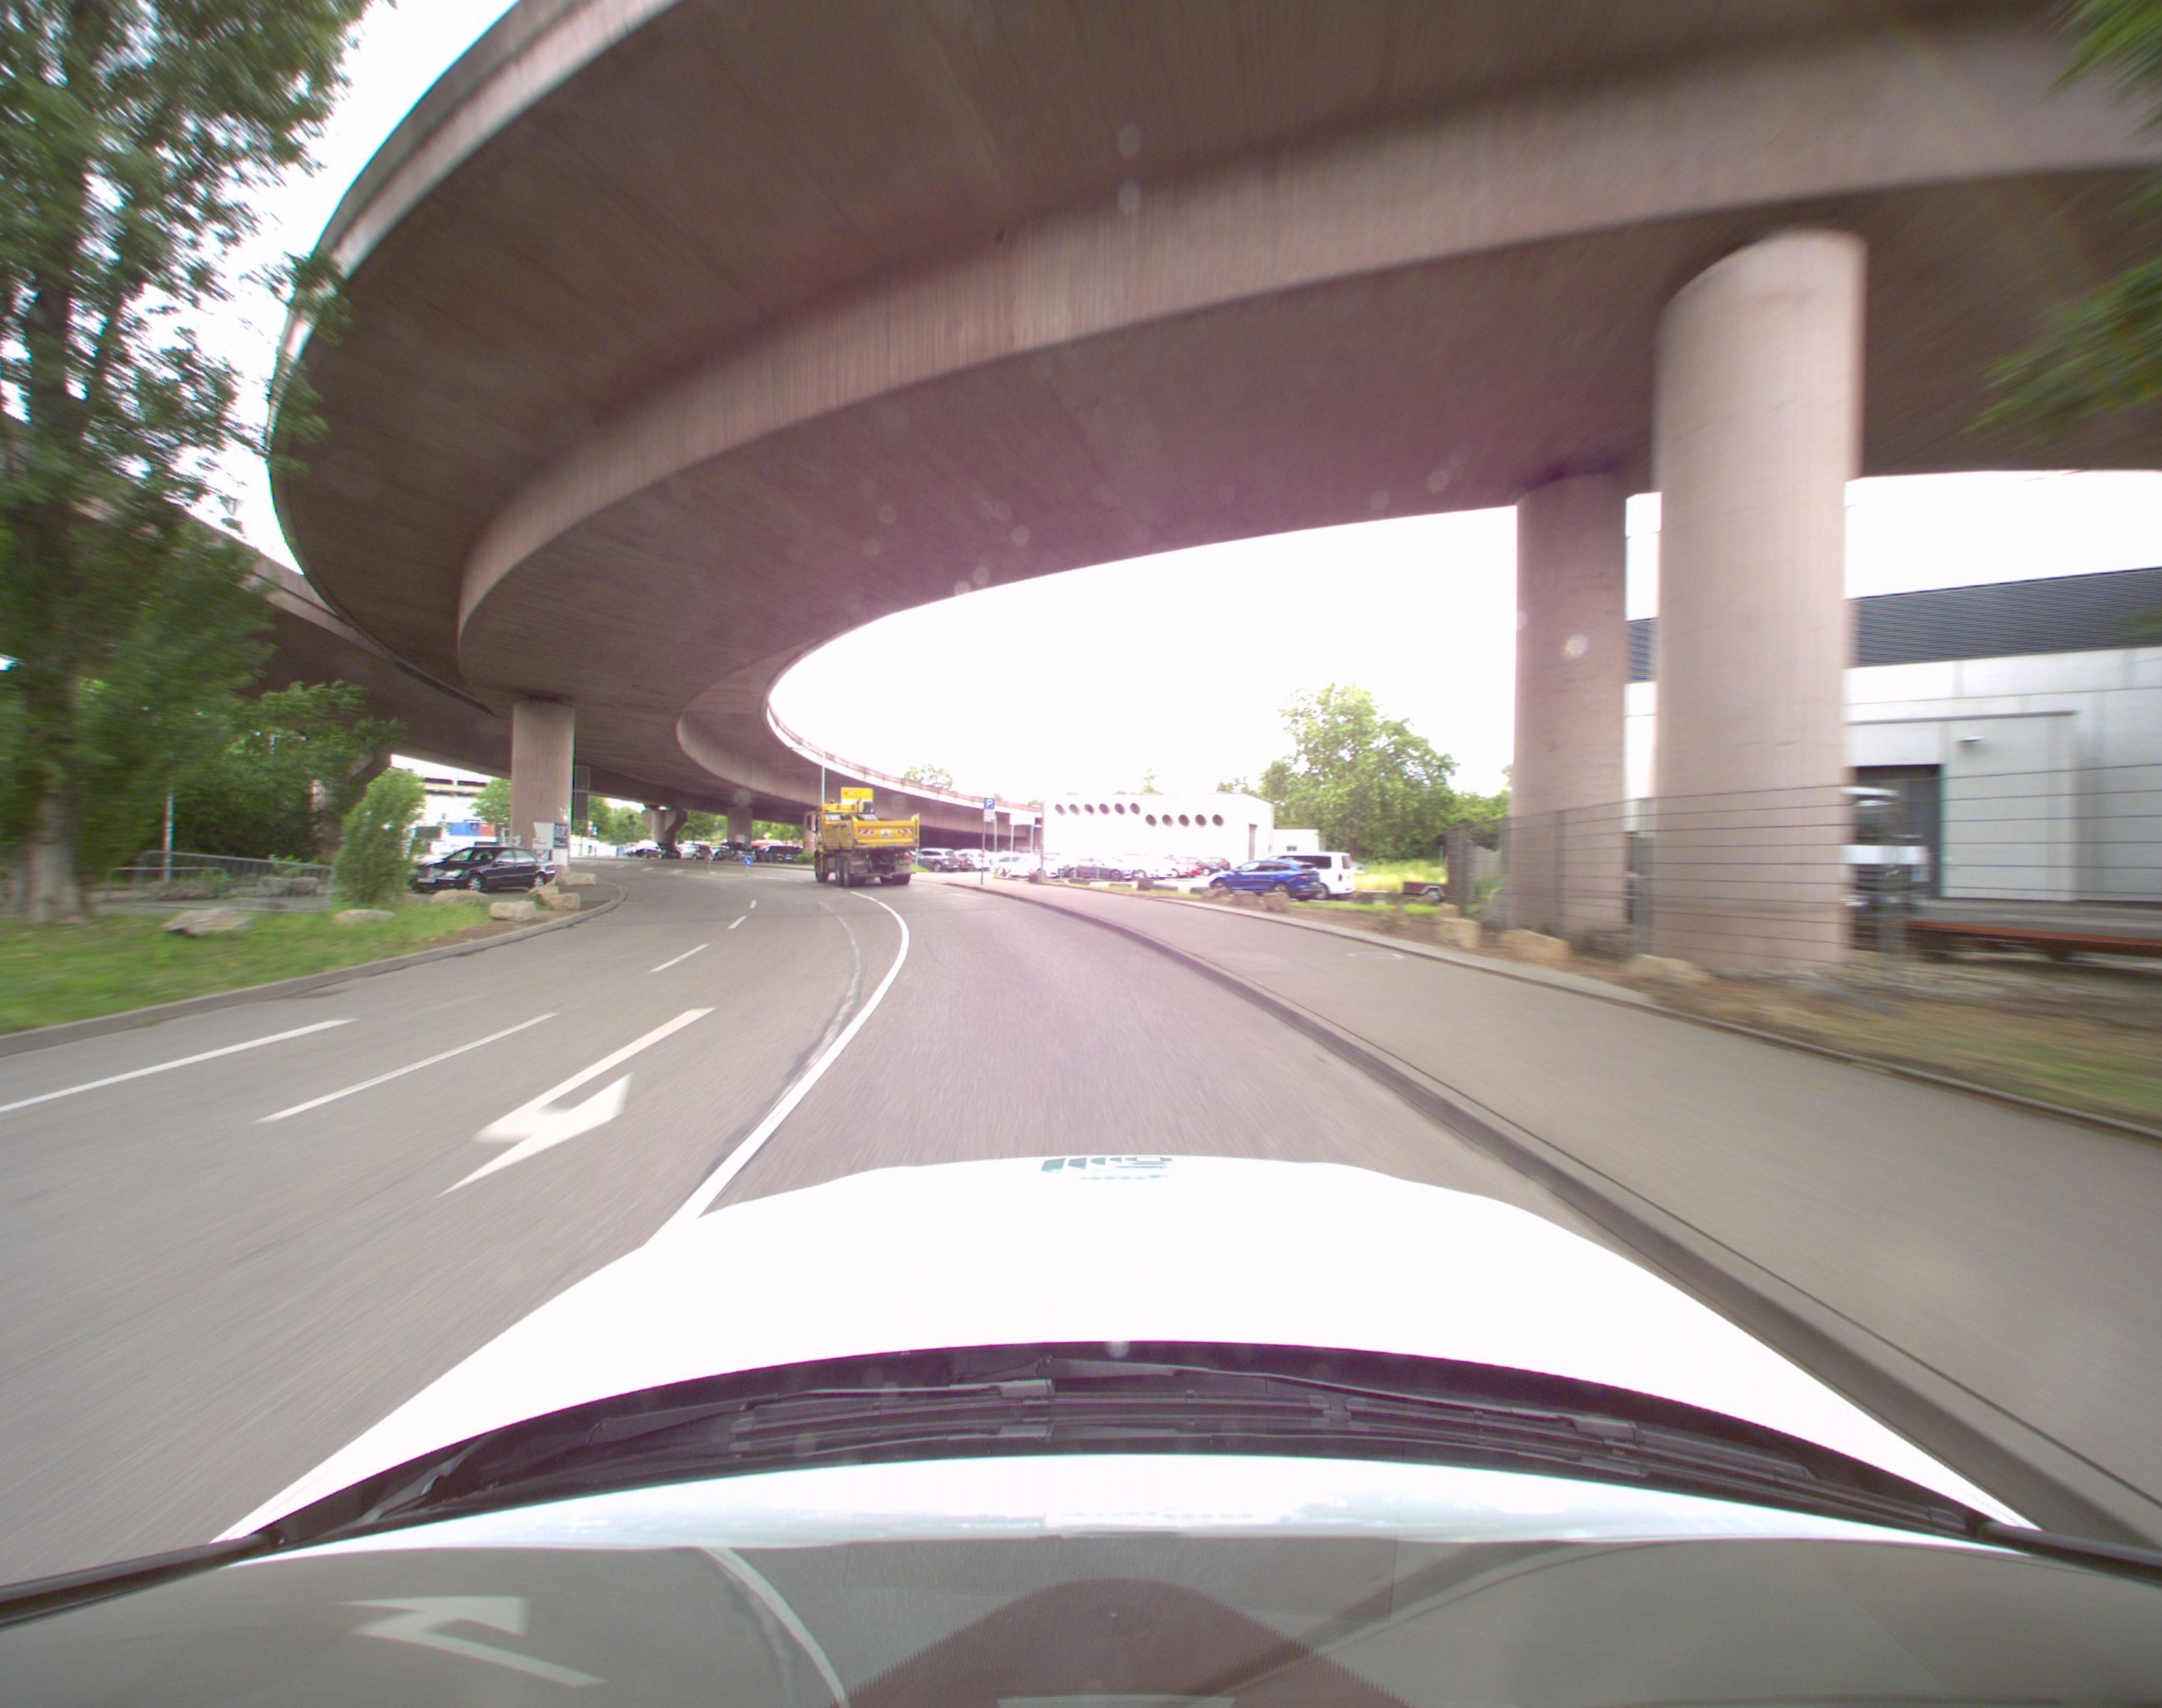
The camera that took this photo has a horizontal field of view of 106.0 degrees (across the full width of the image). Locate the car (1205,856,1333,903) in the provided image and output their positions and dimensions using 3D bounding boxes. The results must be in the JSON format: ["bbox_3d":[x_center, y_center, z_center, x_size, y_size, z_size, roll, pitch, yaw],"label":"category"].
[{"bbox_3d":[7.296,0.928,31.879,4.627,1.634,1.786,1,0,44],"label":"car"}]

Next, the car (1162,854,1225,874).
[{"bbox_3d":[8.666,0.788,62.831,4.386,1.425,1.850,1,0,28],"label":"car"}]

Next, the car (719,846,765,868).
[{"bbox_3d":[-25.758,0.207,61.845,3.366,1.533,1.621,1,-2,36],"label":"car"}]

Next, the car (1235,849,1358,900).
[{"bbox_3d":[9.022,0.800,34.284,4.620,1.957,1.906,1,0,34],"label":"car"}]

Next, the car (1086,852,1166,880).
[{"bbox_3d":[2.701,0.708,49.506,4.444,1.513,1.850,1,0,28],"label":"car"}]

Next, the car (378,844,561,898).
[{"bbox_3d":[-18.563,0.477,25.061,1.815,1.430,4.776,3,0,2],"label":"car"}]

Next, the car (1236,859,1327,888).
[{"bbox_3d":[10.536,0.972,42.810,4.306,1.384,1.786,1,0,29],"label":"car"}]

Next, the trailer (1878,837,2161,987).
[{"bbox_3d":[10.445,0.515,7.732,1.594,1.331,4.385,0,-1,2],"label":"trailer"}]

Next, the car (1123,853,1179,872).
[{"bbox_3d":[5.974,0.706,69.463,4.433,1.533,1.779,1,0,26],"label":"car"}]

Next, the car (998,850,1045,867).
[{"bbox_3d":[-5.684,0.405,77.808,4.140,1.592,1.849,1,0,25],"label":"car"}]

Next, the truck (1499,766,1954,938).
[{"bbox_3d":[12.467,-0.036,16.773,2.424,2.744,7.190,1,0,-19],"label":"truck"}]

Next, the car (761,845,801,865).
[{"bbox_3d":[-25.095,0.107,68.013,1.800,1.507,3.812,3,-2,-42],"label":"car"}]

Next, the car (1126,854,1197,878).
[{"bbox_3d":[5.526,0.794,56.185,4.444,1.513,1.850,1,0,28],"label":"car"}]

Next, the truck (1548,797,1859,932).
[{"bbox_3d":[15.253,0.231,20.622,2.454,2.886,6.091,1,0,-13],"label":"truck"}]

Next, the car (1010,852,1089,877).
[{"bbox_3d":[-2.032,0.638,51.759,4.629,1.475,1.869,1,0,26],"label":"car"}]

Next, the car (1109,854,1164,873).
[{"bbox_3d":[4.392,0.772,64.706,3.927,1.392,1.779,1,0,26],"label":"car"}]

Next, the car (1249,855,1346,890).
[{"bbox_3d":[10.659,0.878,40.080,4.306,1.588,1.786,1,0,27],"label":"car"}]

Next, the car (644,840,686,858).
[{"bbox_3d":[-34.766,-0.456,67.963,3.533,1.397,1.621,1,-2,36],"label":"car"}]

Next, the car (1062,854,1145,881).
[{"bbox_3d":[1.283,0.750,47.189,4.386,1.425,1.850,1,0,28],"label":"car"}]

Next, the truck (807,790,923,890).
[{"bbox_3d":[-9.238,-0.587,34.122,2.775,3.698,7.807,-2,1,-29],"label":"truck"}]

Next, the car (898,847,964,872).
[{"bbox_3d":[-10.786,0.404,58.351,4.415,1.675,1.756,1,0,25],"label":"car"}]

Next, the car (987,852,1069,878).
[{"bbox_3d":[-3.227,0.656,49.445,4.628,1.475,1.869,1,0,28],"label":"car"}]

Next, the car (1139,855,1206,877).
[{"bbox_3d":[6.587,0.861,58.498,4.386,1.425,1.850,1,0,28],"label":"car"}]

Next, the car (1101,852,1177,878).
[{"bbox_3d":[3.704,0.697,52.038,4.444,1.513,1.850,1,0,28],"label":"car"}]

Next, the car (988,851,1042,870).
[{"bbox_3d":[-5.645,0.521,69.444,4.208,1.509,1.719,1,0,25],"label":"car"}]

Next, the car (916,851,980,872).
[{"bbox_3d":[-9.936,0.555,60.778,4.404,1.449,1.767,1,0,25],"label":"car"}]

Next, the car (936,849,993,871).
[{"bbox_3d":[-9.009,0.453,63.088,4.037,1.557,1.767,1,0,25],"label":"car"}]

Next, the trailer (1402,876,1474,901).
[{"bbox_3d":[13.888,1.315,31.724,2.529,0.899,1.492,-1,-1,24],"label":"trailer"}]

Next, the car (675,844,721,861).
[{"bbox_3d":[-36.185,-0.169,76.990,3.963,1.552,1.648,1,0,22],"label":"car"}]

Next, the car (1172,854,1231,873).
[{"bbox_3d":[9.821,0.779,66.603,4.386,1.425,1.850,1,0,28],"label":"car"}]
